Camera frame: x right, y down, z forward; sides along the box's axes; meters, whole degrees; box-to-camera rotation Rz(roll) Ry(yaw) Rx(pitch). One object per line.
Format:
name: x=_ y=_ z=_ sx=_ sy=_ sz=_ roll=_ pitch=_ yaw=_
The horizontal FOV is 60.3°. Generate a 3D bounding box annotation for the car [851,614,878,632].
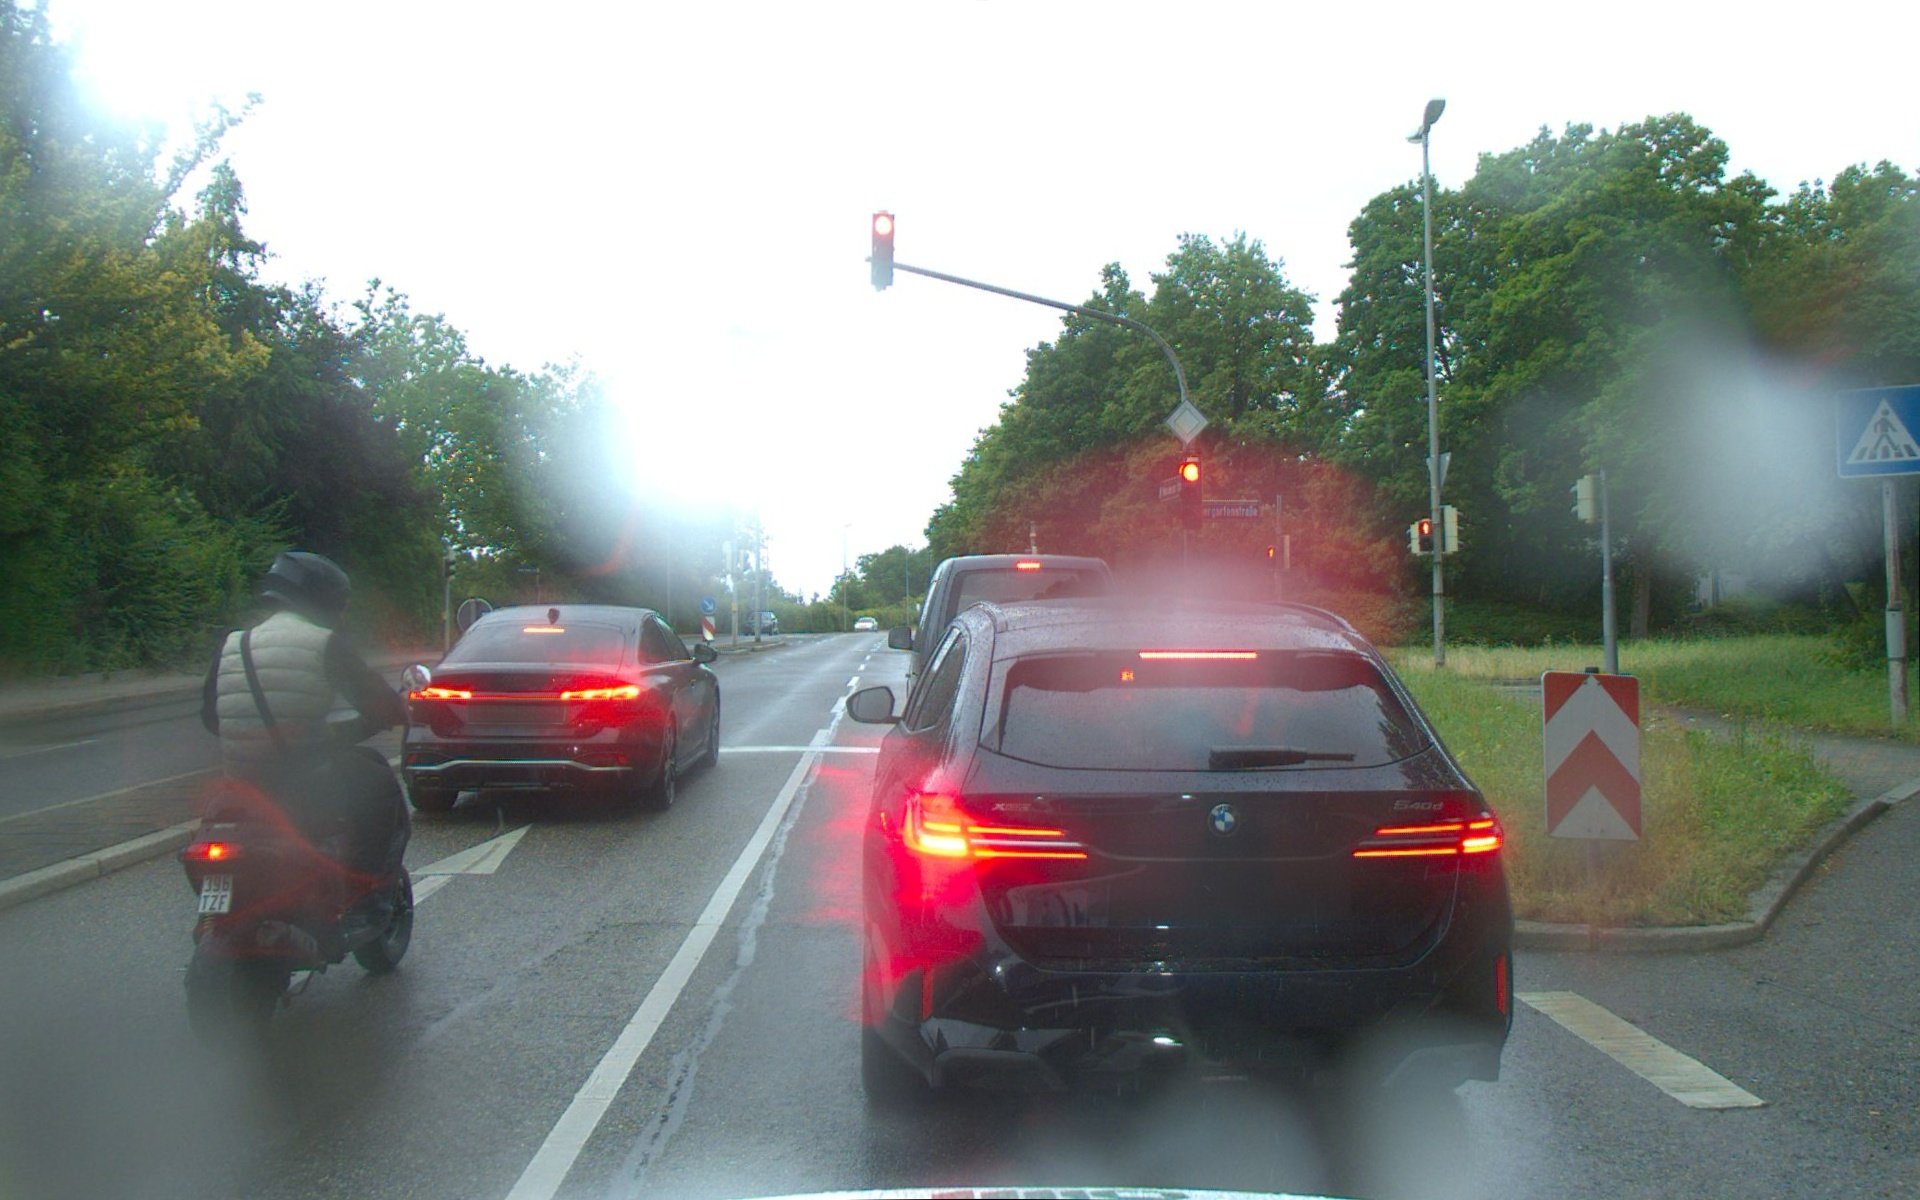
car: x=-9.207 y=2.236 z=159.132 sx=1.951 sy=1.639 sz=3.674 roll=-2 pitch=-1 yaw=6

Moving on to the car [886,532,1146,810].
car: x=0.378 y=0.500 z=13.335 sx=1.781 sy=1.901 sz=3.952 roll=0 pitch=0 yaw=0

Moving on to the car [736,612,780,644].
car: x=-12.476 y=1.728 z=102.148 sx=1.952 sy=1.858 sz=4.001 roll=-2 pitch=-1 yaw=3

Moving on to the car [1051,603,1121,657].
car: x=3.965 y=0.919 z=52.451 sx=1.835 sy=1.569 sz=3.952 roll=-2 pitch=0 yaw=0

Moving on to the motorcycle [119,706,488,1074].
motorcycle: x=-2.322 y=0.968 z=6.095 sx=0.677 sy=1.071 sz=1.747 roll=-1 pitch=-2 yaw=-1

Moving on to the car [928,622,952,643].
car: x=-1.456 y=2.366 z=120.627 sx=1.663 sy=1.452 sz=3.513 roll=-2 pitch=0 yaw=0

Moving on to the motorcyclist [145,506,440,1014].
motorcyclist: x=-2.330 y=0.534 z=5.848 sx=0.749 sy=1.671 sz=0.674 roll=-1 pitch=-1 yaw=-2

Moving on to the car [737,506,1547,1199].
car: x=0.526 y=0.617 z=6.134 sx=1.858 sy=1.578 sz=4.616 roll=1 pitch=-1 yaw=3

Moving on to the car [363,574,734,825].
car: x=-2.976 y=0.664 z=12.946 sx=1.954 sy=1.554 sz=4.325 roll=-2 pitch=0 yaw=-3
